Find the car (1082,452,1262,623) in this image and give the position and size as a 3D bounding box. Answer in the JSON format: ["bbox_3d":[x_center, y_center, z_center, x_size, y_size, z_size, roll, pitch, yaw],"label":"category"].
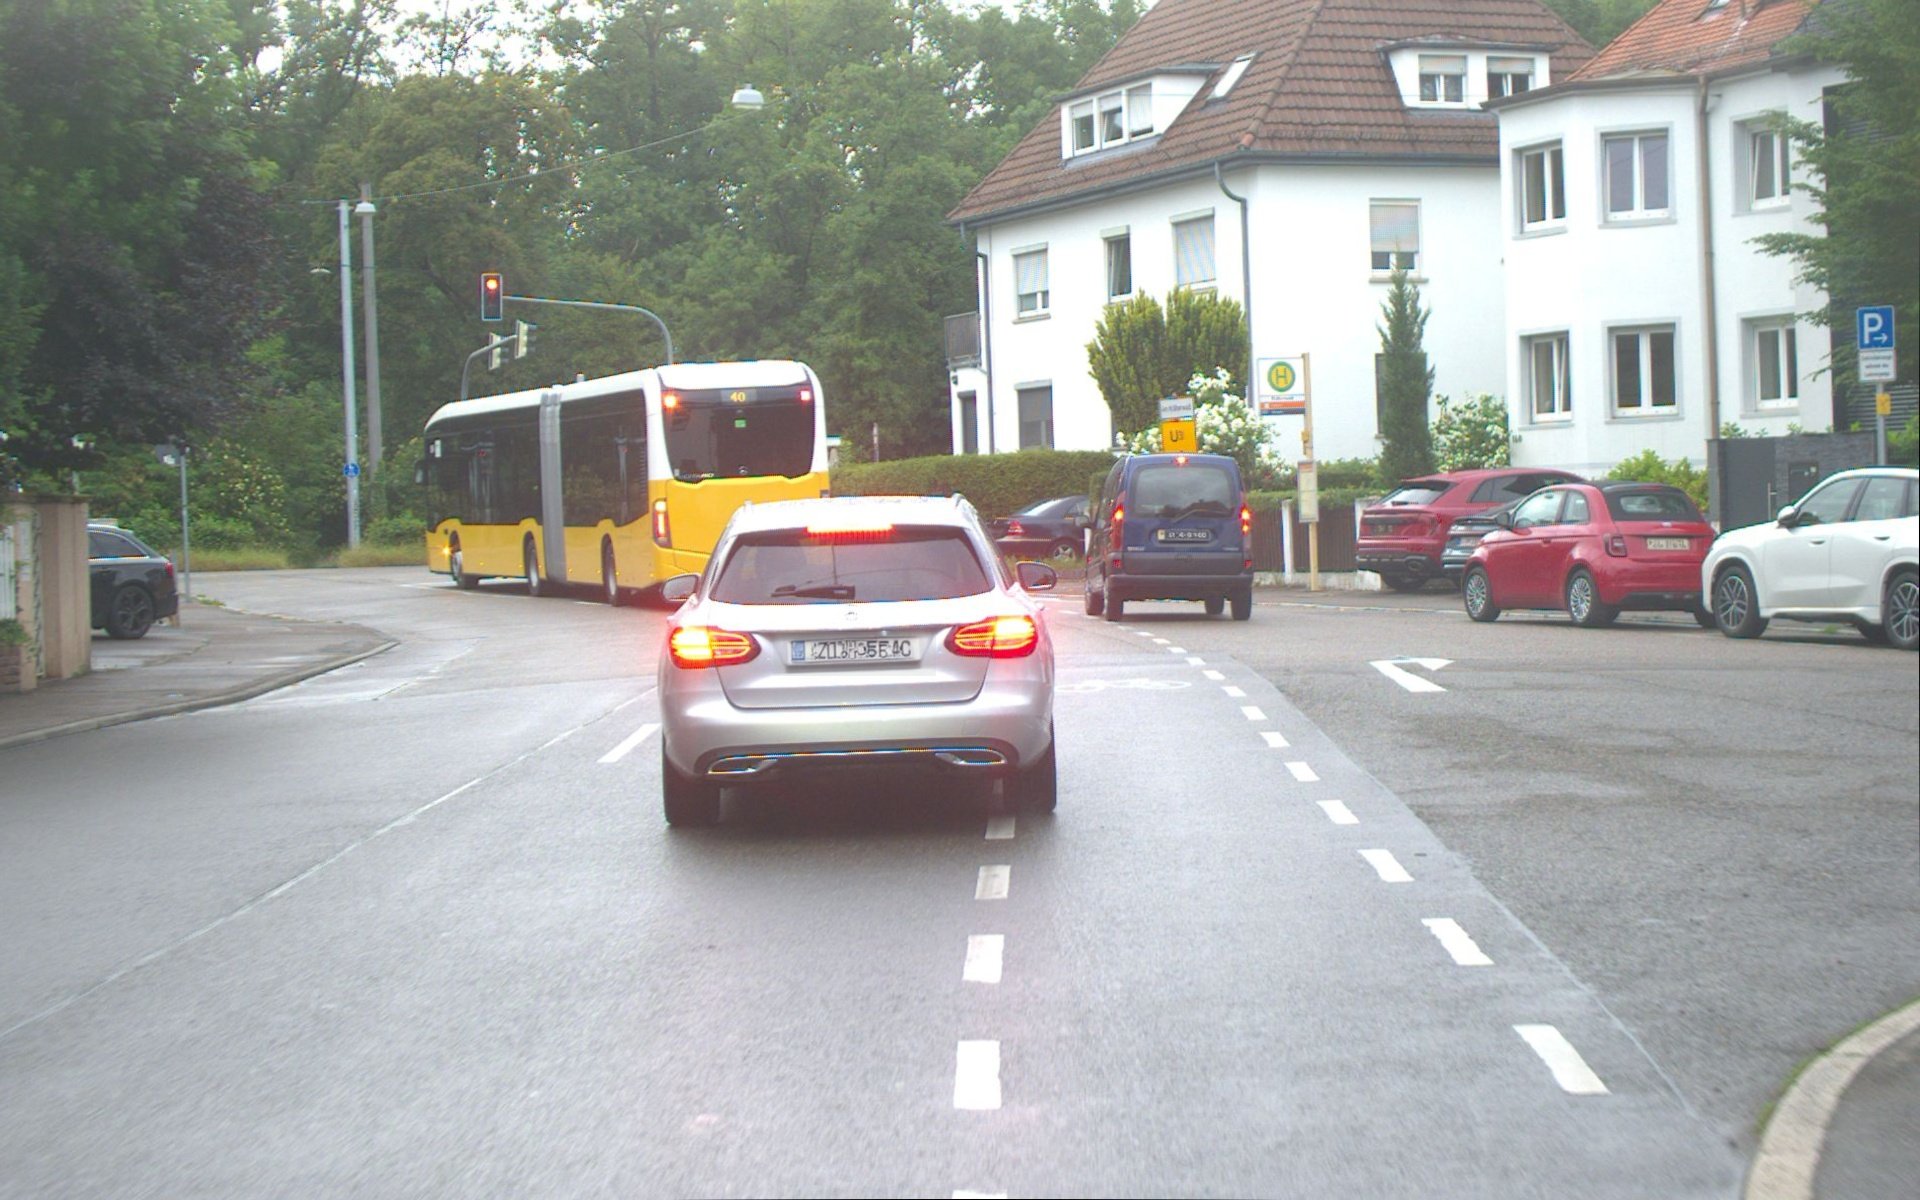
[{"bbox_3d":[2.353,-0.707,39.002,1.809,1.791,4.000,-1,1,1],"label":"car"}]

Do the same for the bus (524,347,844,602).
[{"bbox_3d":[-4.255,-1.837,50.871,2.676,3.386,8.683,-2,2,-18],"label":"bus"}]

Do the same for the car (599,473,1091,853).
[{"bbox_3d":[-0.545,0.176,16.462,1.993,1.474,4.487,-2,3,-2],"label":"car"}]

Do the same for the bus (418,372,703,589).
[{"bbox_3d":[-7.046,-2.047,59.338,2.899,3.386,9.044,-2,2,-19],"label":"bus"}]

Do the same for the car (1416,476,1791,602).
[{"bbox_3d":[8.504,-0.838,45.381,4.547,1.411,2.000,-4,3,-26],"label":"car"}]

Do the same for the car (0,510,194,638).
[{"bbox_3d":[-11.674,-0.339,41.637,1.801,1.490,4.674,2,2,35],"label":"car"}]

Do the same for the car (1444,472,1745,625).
[{"bbox_3d":[6.672,-0.575,36.487,1.611,1.532,3.542,0,2,-19],"label":"car"}]

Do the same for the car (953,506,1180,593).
[{"bbox_3d":[1.928,-0.931,62.273,3.742,1.383,1.617,-2,4,-22],"label":"car"}]

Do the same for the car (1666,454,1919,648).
[{"bbox_3d":[8.504,-0.476,31.443,1.743,1.667,4.649,0,2,-21],"label":"car"}]

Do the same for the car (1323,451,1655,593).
[{"bbox_3d":[7.299,-1.100,47.412,4.073,1.744,2.000,-4,3,-27],"label":"car"}]
